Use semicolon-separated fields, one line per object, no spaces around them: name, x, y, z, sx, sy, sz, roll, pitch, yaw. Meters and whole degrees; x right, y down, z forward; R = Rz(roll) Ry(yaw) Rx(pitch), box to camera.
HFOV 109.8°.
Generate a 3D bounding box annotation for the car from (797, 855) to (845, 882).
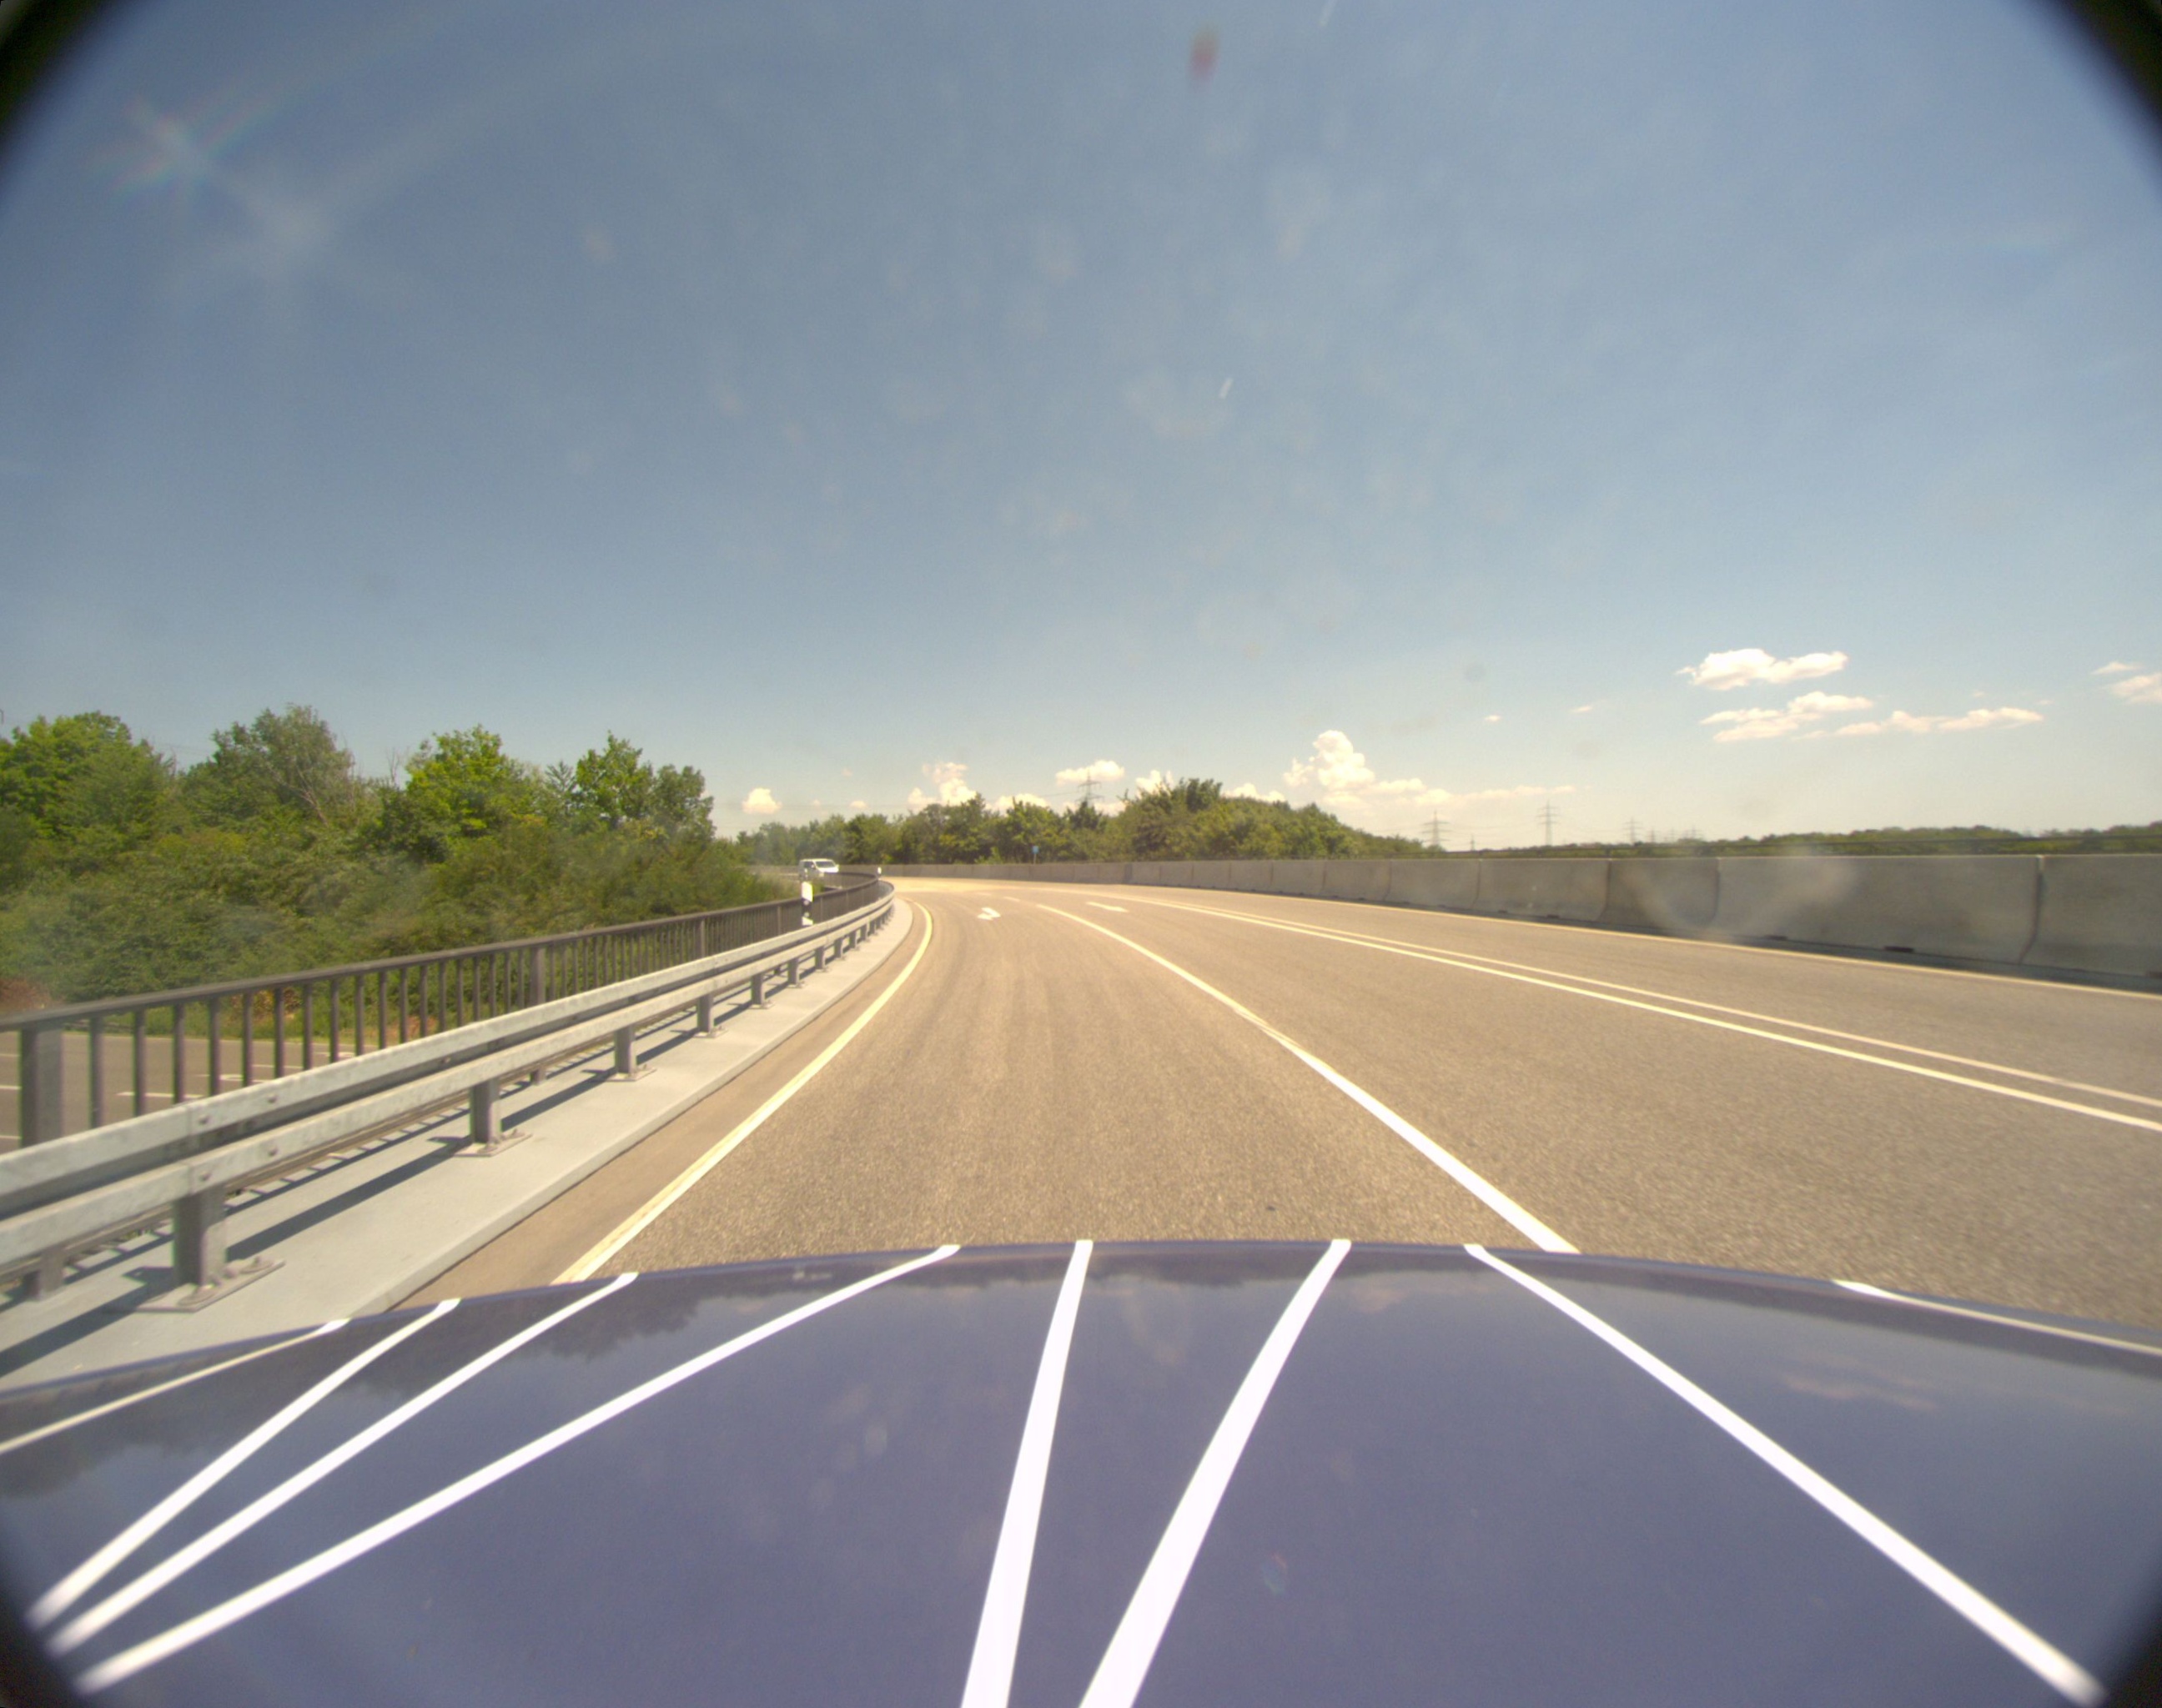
car;-21.717;1.125;63.409;2.036;2.073;5.855;-1;1;-37
